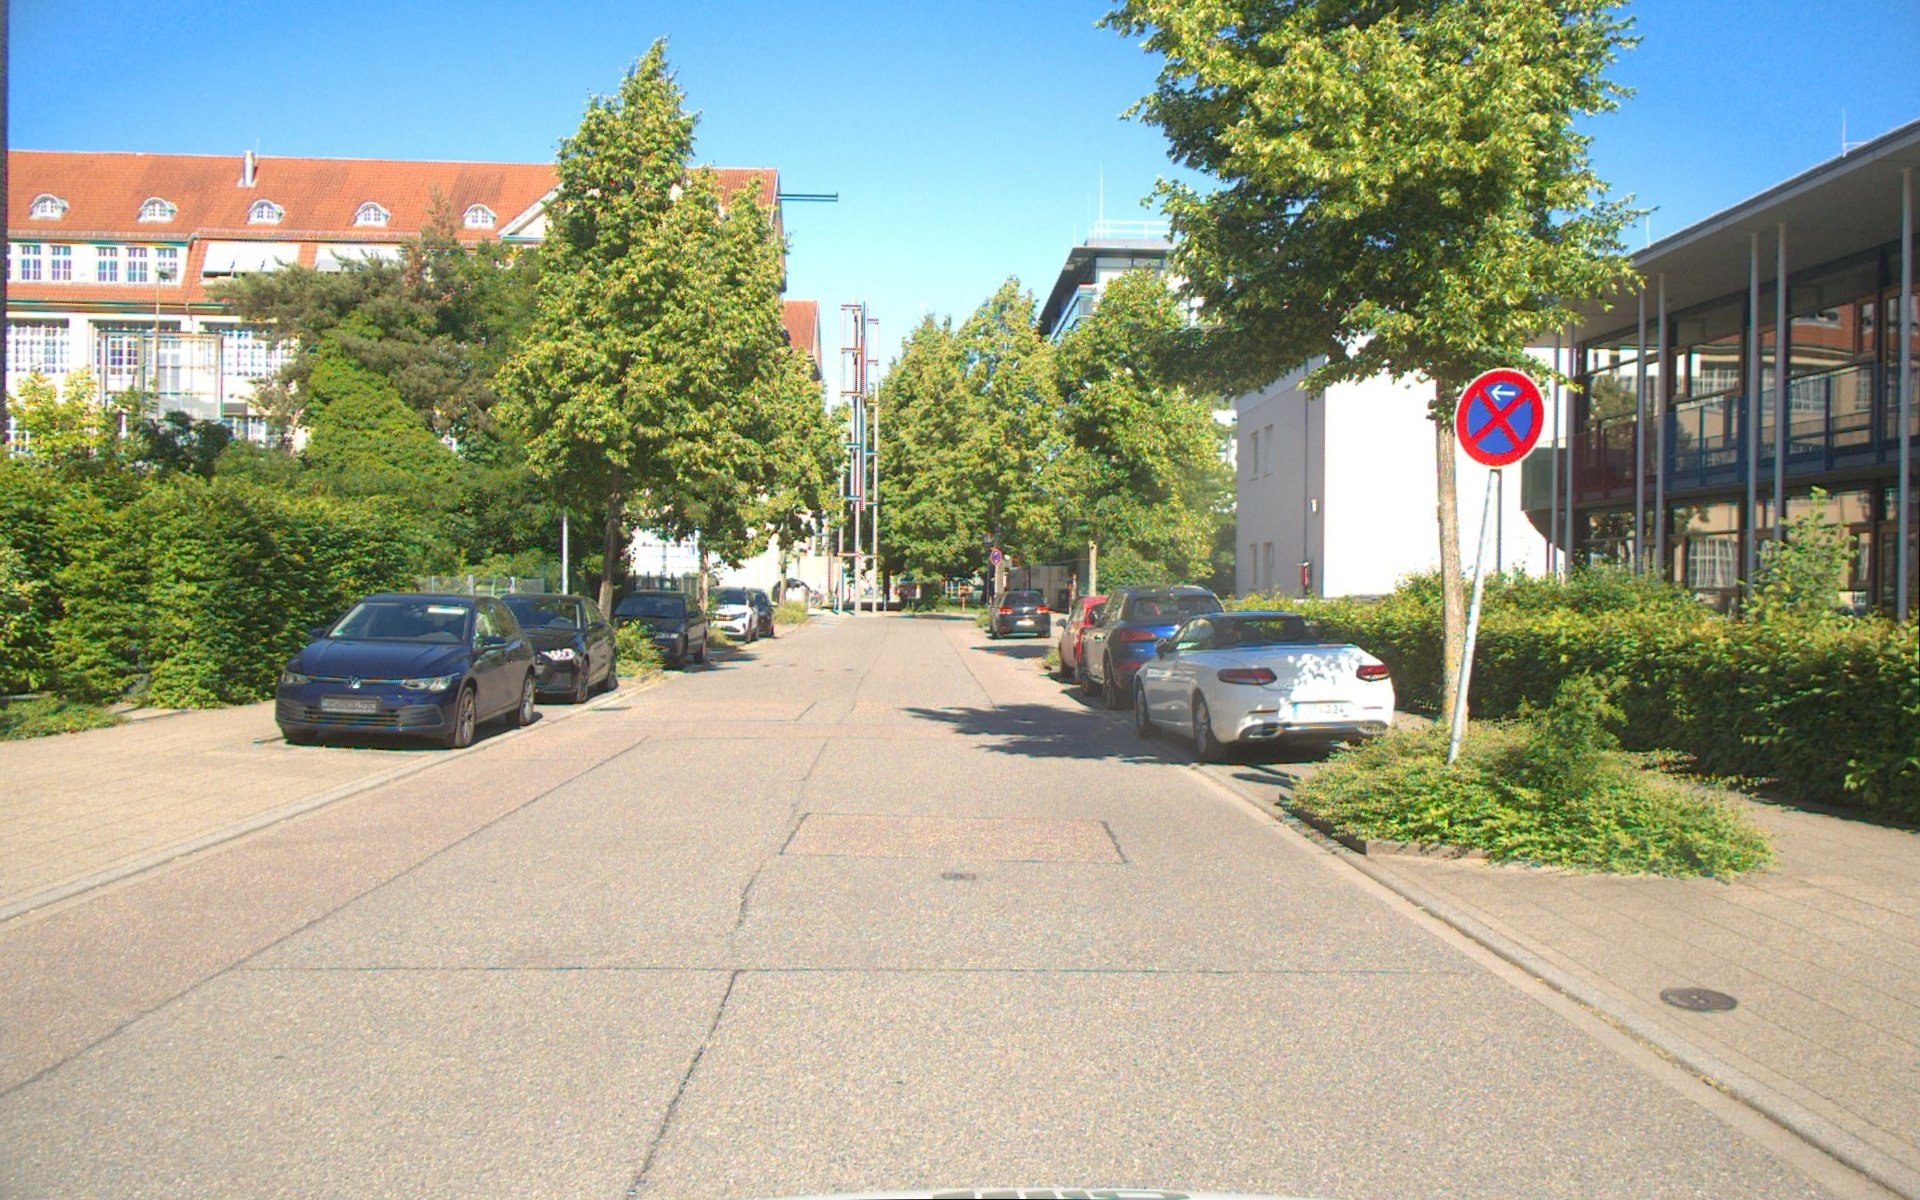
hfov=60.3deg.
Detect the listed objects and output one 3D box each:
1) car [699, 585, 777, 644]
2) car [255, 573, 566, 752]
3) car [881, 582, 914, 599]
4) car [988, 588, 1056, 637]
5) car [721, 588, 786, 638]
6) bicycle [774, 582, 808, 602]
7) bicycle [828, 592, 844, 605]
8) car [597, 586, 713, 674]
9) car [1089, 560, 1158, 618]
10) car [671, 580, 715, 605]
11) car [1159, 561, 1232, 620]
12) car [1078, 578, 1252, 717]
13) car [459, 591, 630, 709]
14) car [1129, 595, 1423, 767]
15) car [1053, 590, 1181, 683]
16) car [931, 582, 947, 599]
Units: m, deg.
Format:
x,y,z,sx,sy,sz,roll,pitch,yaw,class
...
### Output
x,y,z,sx,sy,sz,roll,pitch,yaw,class
-6.148,0.382,46.228,1.741,1.557,3.999,0,0,-2,car
-5.538,0.583,17.230,1.725,1.554,4.001,3,0,2,car
-7.625,-1.206,201.895,3.906,2.049,2.000,1,1,-1,car
1.954,0.371,53.177,1.953,1.512,3.999,0,0,-2,car
-6.421,0.380,51.659,1.666,1.496,3.460,0,0,-2,car
-7.239,-0.353,70.900,1.439,0.857,0.335,1,1,-6,bicycle
-6.797,-0.092,90.867,0.370,0.695,1.065,0,1,-38,bicycle
-5.978,0.556,32.781,1.660,1.633,3.941,1,0,-2,car
5.863,-0.387,59.737,1.983,2.049,3.999,0,0,-2,car
-11.620,-0.329,71.980,1.727,1.025,0.879,1,1,1,car
8.489,-0.321,59.844,1.953,2.049,3.999,0,0,-2,car
2.834,0.615,23.713,1.784,1.749,4.117,-2,0,-2,car
-5.783,0.653,23.388,1.597,1.527,3.576,1,0,-2,car
3.016,0.730,16.728,1.794,1.447,4.229,-2,0,-5,car
2.745,0.618,29.684,1.797,1.542,3.878,1,0,-2,car
-2.573,-1.151,203.414,1.953,2.049,3.999,1,1,-1,car
